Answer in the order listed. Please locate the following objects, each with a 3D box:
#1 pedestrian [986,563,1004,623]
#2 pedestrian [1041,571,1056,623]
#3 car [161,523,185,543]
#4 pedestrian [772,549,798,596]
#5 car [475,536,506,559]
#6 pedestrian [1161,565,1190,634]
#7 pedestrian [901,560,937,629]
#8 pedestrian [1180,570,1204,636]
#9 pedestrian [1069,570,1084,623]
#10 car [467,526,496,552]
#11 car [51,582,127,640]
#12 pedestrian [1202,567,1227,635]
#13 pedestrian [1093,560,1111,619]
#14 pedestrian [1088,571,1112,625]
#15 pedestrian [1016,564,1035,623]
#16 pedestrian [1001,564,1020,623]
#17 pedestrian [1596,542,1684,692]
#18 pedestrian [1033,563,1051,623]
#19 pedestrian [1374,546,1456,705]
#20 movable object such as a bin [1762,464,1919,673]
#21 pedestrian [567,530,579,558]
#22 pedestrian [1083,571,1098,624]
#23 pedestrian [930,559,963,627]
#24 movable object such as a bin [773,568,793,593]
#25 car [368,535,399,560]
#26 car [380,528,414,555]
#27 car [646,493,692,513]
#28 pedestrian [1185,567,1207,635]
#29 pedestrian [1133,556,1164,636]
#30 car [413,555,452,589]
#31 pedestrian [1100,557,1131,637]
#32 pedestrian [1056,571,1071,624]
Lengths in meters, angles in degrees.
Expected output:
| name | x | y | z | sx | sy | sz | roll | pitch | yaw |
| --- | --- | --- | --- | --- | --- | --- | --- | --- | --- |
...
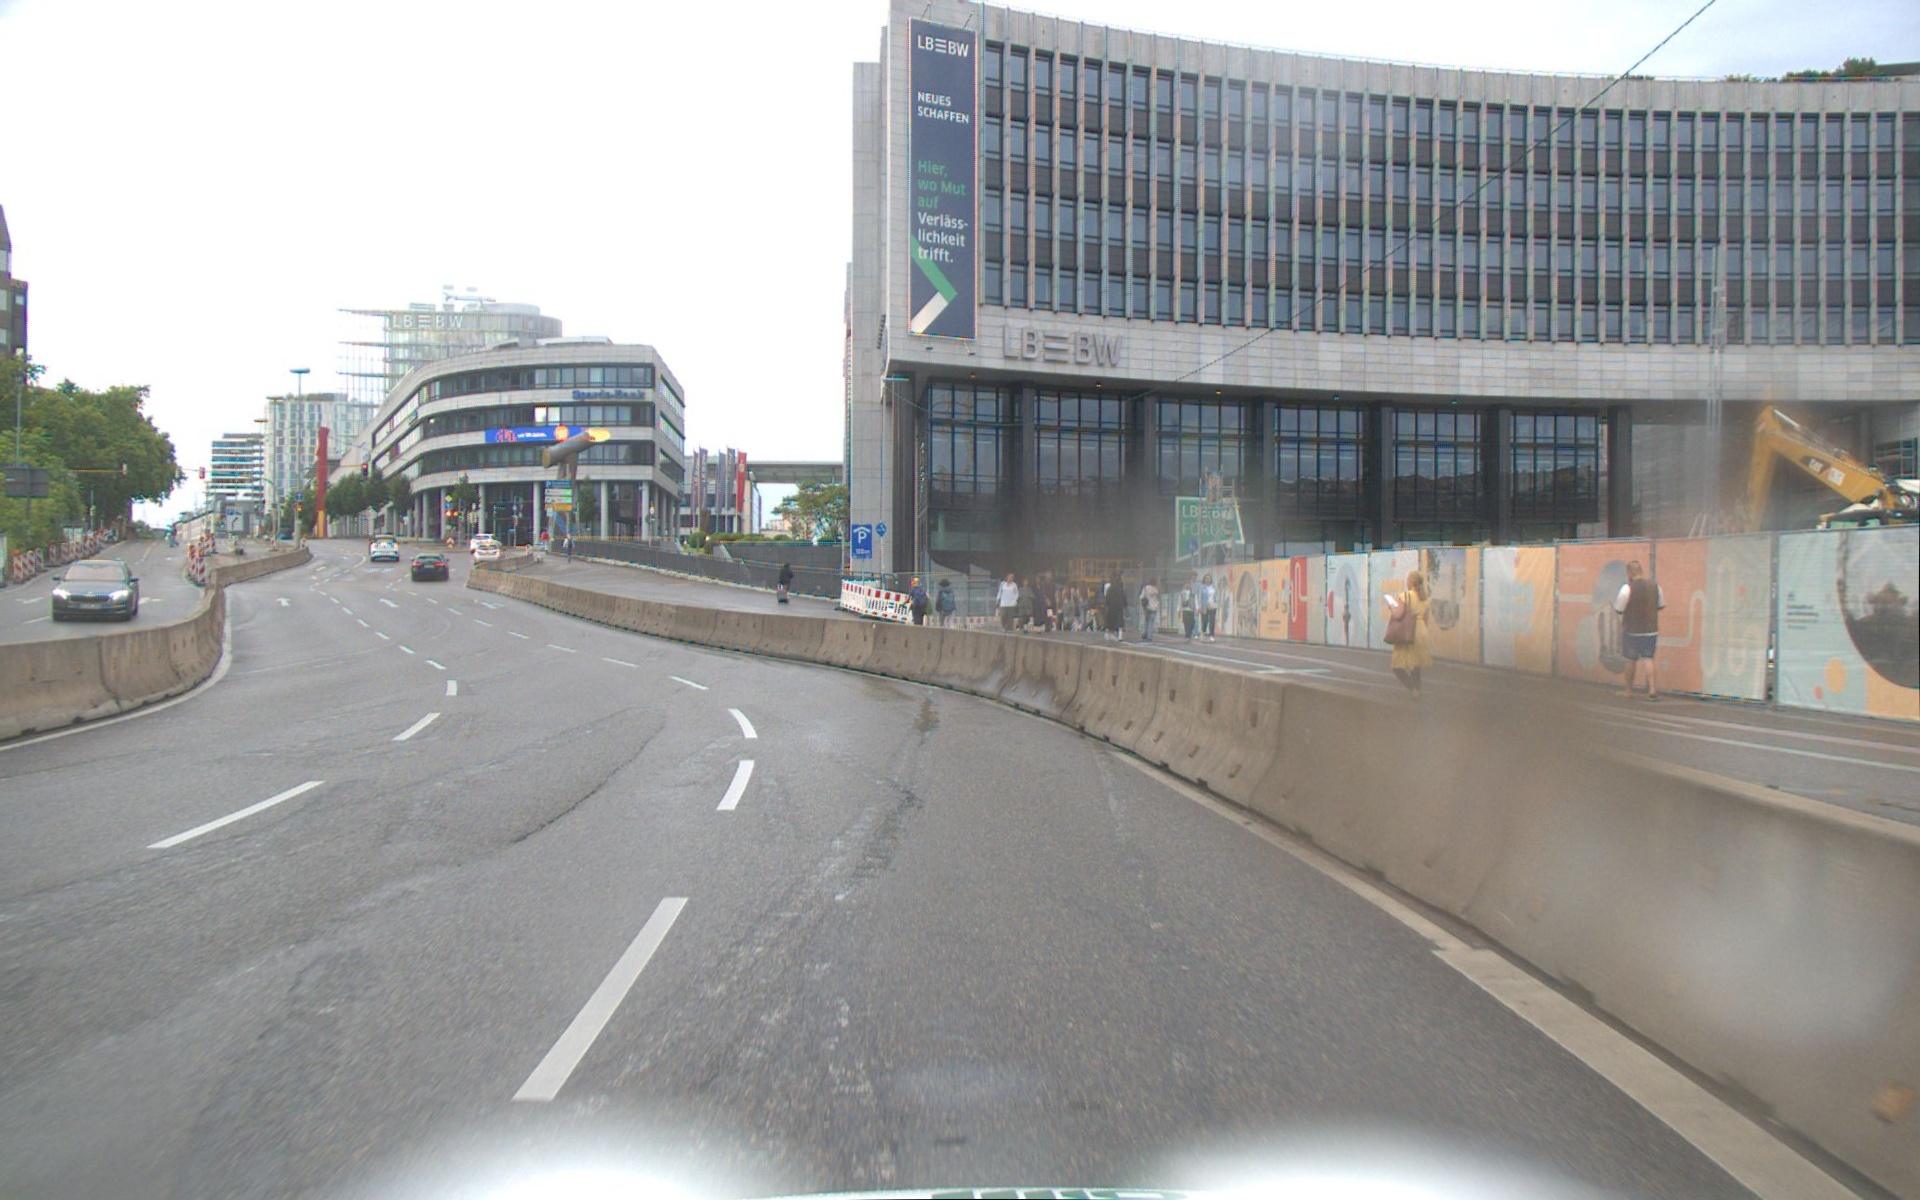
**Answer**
| name | x | y | z | sx | sy | sz | roll | pitch | yaw |
| --- | --- | --- | --- | --- | --- | --- | --- | --- | --- |
| pedestrian | 1.012 | -0.213 | 48.275 | 0.439 | 1.734 | 0.646 | 1 | 1 | -6 |
| pedestrian | 2.961 | -0.106 | 55.156 | 0.438 | 1.734 | 0.647 | 1 | 1 | 7 |
| car | -65.935 | -5.640 | 138.618 | 1.579 | 1.376 | 3.728 | 1 | -2 | -22 |
| pedestrian | -6.905 | -1.077 | 65.157 | 0.746 | 1.821 | 1.050 | 1 | 0 | -22 |
| car | -29.274 | -3.243 | 103.196 | 1.794 | 1.376 | 3.850 | 0 | 1 | -15 |
| pedestrian | 5.490 | -0.020 | 42.151 | 0.613 | 1.734 | 0.646 | 1 | 1 | -2 |
| pedestrian | -1.021 | -0.139 | 40.940 | 0.738 | 1.670 | 0.821 | 0 | 1 | -13 |
| pedestrian | 6.205 | 0.071 | 44.197 | 0.490 | 1.734 | 0.732 | 1 | 1 | -3 |
| pedestrian | 3.879 | -0.120 | 54.994 | 0.438 | 1.734 | 0.647 | 1 | 1 | 7 |
| car | -35.573 | -4.543 | 122.979 | 1.960 | 1.835 | 4.249 | 1 | 1 | -15 |
| car | -22.315 | 0.324 | 42.469 | 1.582 | 1.376 | 3.722 | 1 | -2 | -26 |
| pedestrian | 6.527 | 0.023 | 42.421 | 0.492 | 1.734 | 0.646 | 1 | 1 | -2 |
| pedestrian | 4.507 | -0.345 | 52.543 | 0.518 | 1.850 | 0.536 | 1 | 1 | -1 |
| pedestrian | 4.560 | -0.061 | 53.858 | 0.507 | 1.734 | 0.567 | 0 | 1 | -38 |
| pedestrian | 1.924 | -0.194 | 48.593 | 0.444 | 1.734 | 0.646 | 1 | 1 | -6 |
| pedestrian | 1.470 | -0.195 | 48.318 | 0.439 | 1.734 | 0.646 | 1 | 1 | -6 |
| pedestrian | 8.795 | 0.212 | 21.408 | 0.764 | 1.894 | 0.811 | -1 | 1 | -5 |
| pedestrian | 2.410 | -0.207 | 48.699 | 0.439 | 1.734 | 0.646 | 1 | 1 | -6 |
| pedestrian | 5.509 | 0.303 | 20.068 | 0.718 | 1.886 | 0.831 | 1 | 0 | -3 |
| movable object such as a bin | 19.467 | -0.620 | 34.710 | 3.046 | 4.100 | 3.669 | 1 | 0 | -24 |
| pedestrian | -24.959 | -3.589 | 106.588 | 0.612 | 1.795 | 0.590 | 1 | 1 | 1 |
| pedestrian | 4.332 | -0.099 | 54.923 | 0.438 | 1.734 | 0.647 | 1 | 1 | 7 |
| pedestrian | -0.342 | -0.184 | 41.110 | 0.647 | 1.670 | 0.821 | 0 | 1 | -13 |
| movable object such as a bin | -6.938 | -0.770 | 64.852 | 0.590 | 0.950 | 0.737 | 1 | -2 | -22 |
| car | -37.759 | -3.449 | 108.286 | 1.718 | 1.532 | 3.727 | 1 | 0 | -23 |
| car | -40.366 | -4.182 | 118.650 | 1.960 | 1.835 | 4.249 | 1 | 1 | -15 |
| car | -24.536 | -8.163 | 139.357 | 1.596 | 1.459 | 3.724 | 2 | 2 | 38 |
| pedestrian | 6.042 | 0.018 | 42.354 | 0.439 | 1.734 | 0.646 | 1 | 1 | -2 |
| pedestrian | 4.921 | -0.110 | 43.198 | 0.767 | 2.049 | 0.863 | 1 | 1 | 5 |
| car | -27.381 | -1.434 | 85.948 | 1.646 | 1.534 | 3.731 | 1 | -2 | -14 |
| pedestrian | 4.051 | -0.090 | 43.195 | 0.767 | 2.049 | 0.863 | 1 | 1 | 5 |
| pedestrian | 3.447 | -0.099 | 55.048 | 0.438 | 1.734 | 0.647 | 1 | 1 | 7 |
